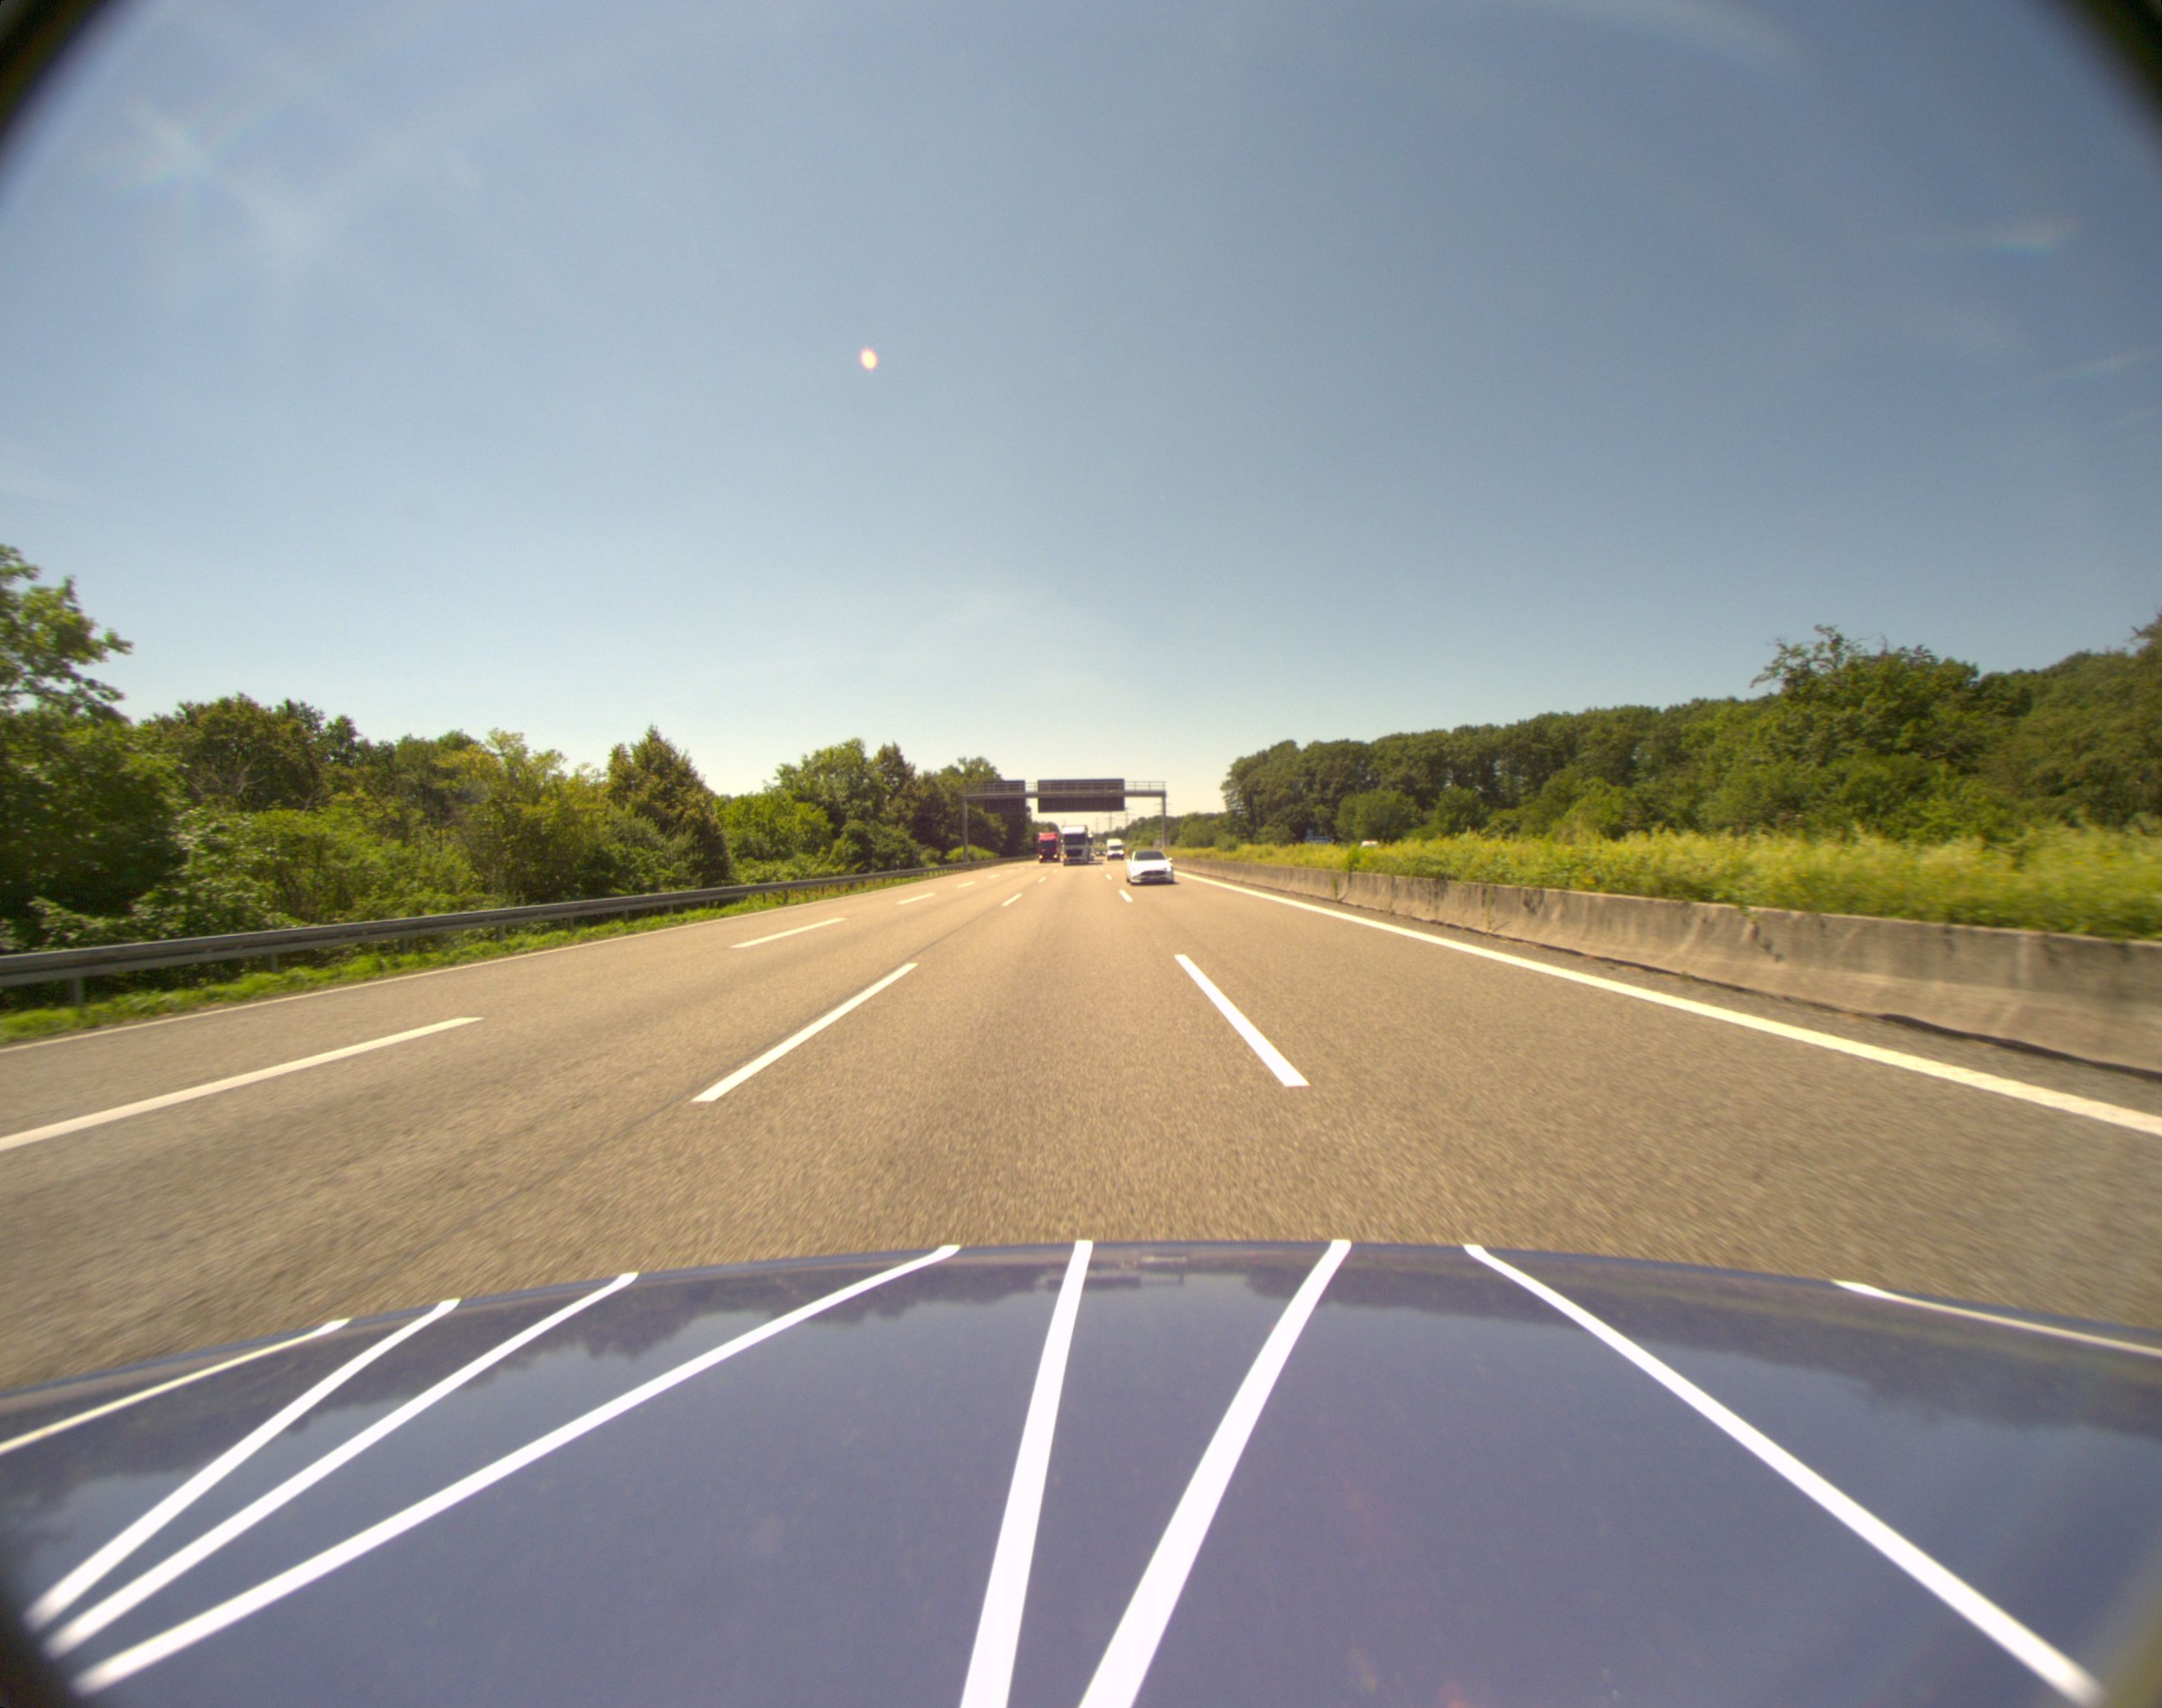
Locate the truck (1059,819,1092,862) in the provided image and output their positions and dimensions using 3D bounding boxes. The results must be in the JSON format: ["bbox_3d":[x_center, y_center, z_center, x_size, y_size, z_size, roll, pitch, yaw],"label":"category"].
[{"bbox_3d":[-0.500,-1.378,79.877,2.990,4.187,7.592,-2,1,2],"label":"truck"}]

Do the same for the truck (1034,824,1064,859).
[{"bbox_3d":[-4.337,-1.677,103.695,3.333,4.351,8.501,-2,1,2],"label":"truck"}]

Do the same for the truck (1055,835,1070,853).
[{"bbox_3d":[-4.699,-2.538,195.781,3.333,4.351,8.501,-2,1,2],"label":"truck"}]

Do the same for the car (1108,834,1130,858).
[{"bbox_3d":[4.918,-1.045,99.652,2.521,2.857,6.399,-3,1,2],"label":"car"}]

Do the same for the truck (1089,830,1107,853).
[{"bbox_3d":[3.385,-2.396,151.548,3.333,4.351,8.501,-2,1,2],"label":"truck"}]

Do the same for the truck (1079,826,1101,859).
[{"bbox_3d":[1.276,-1.593,104.187,2.700,4.232,8.243,-3,1,2],"label":"truck"}]
